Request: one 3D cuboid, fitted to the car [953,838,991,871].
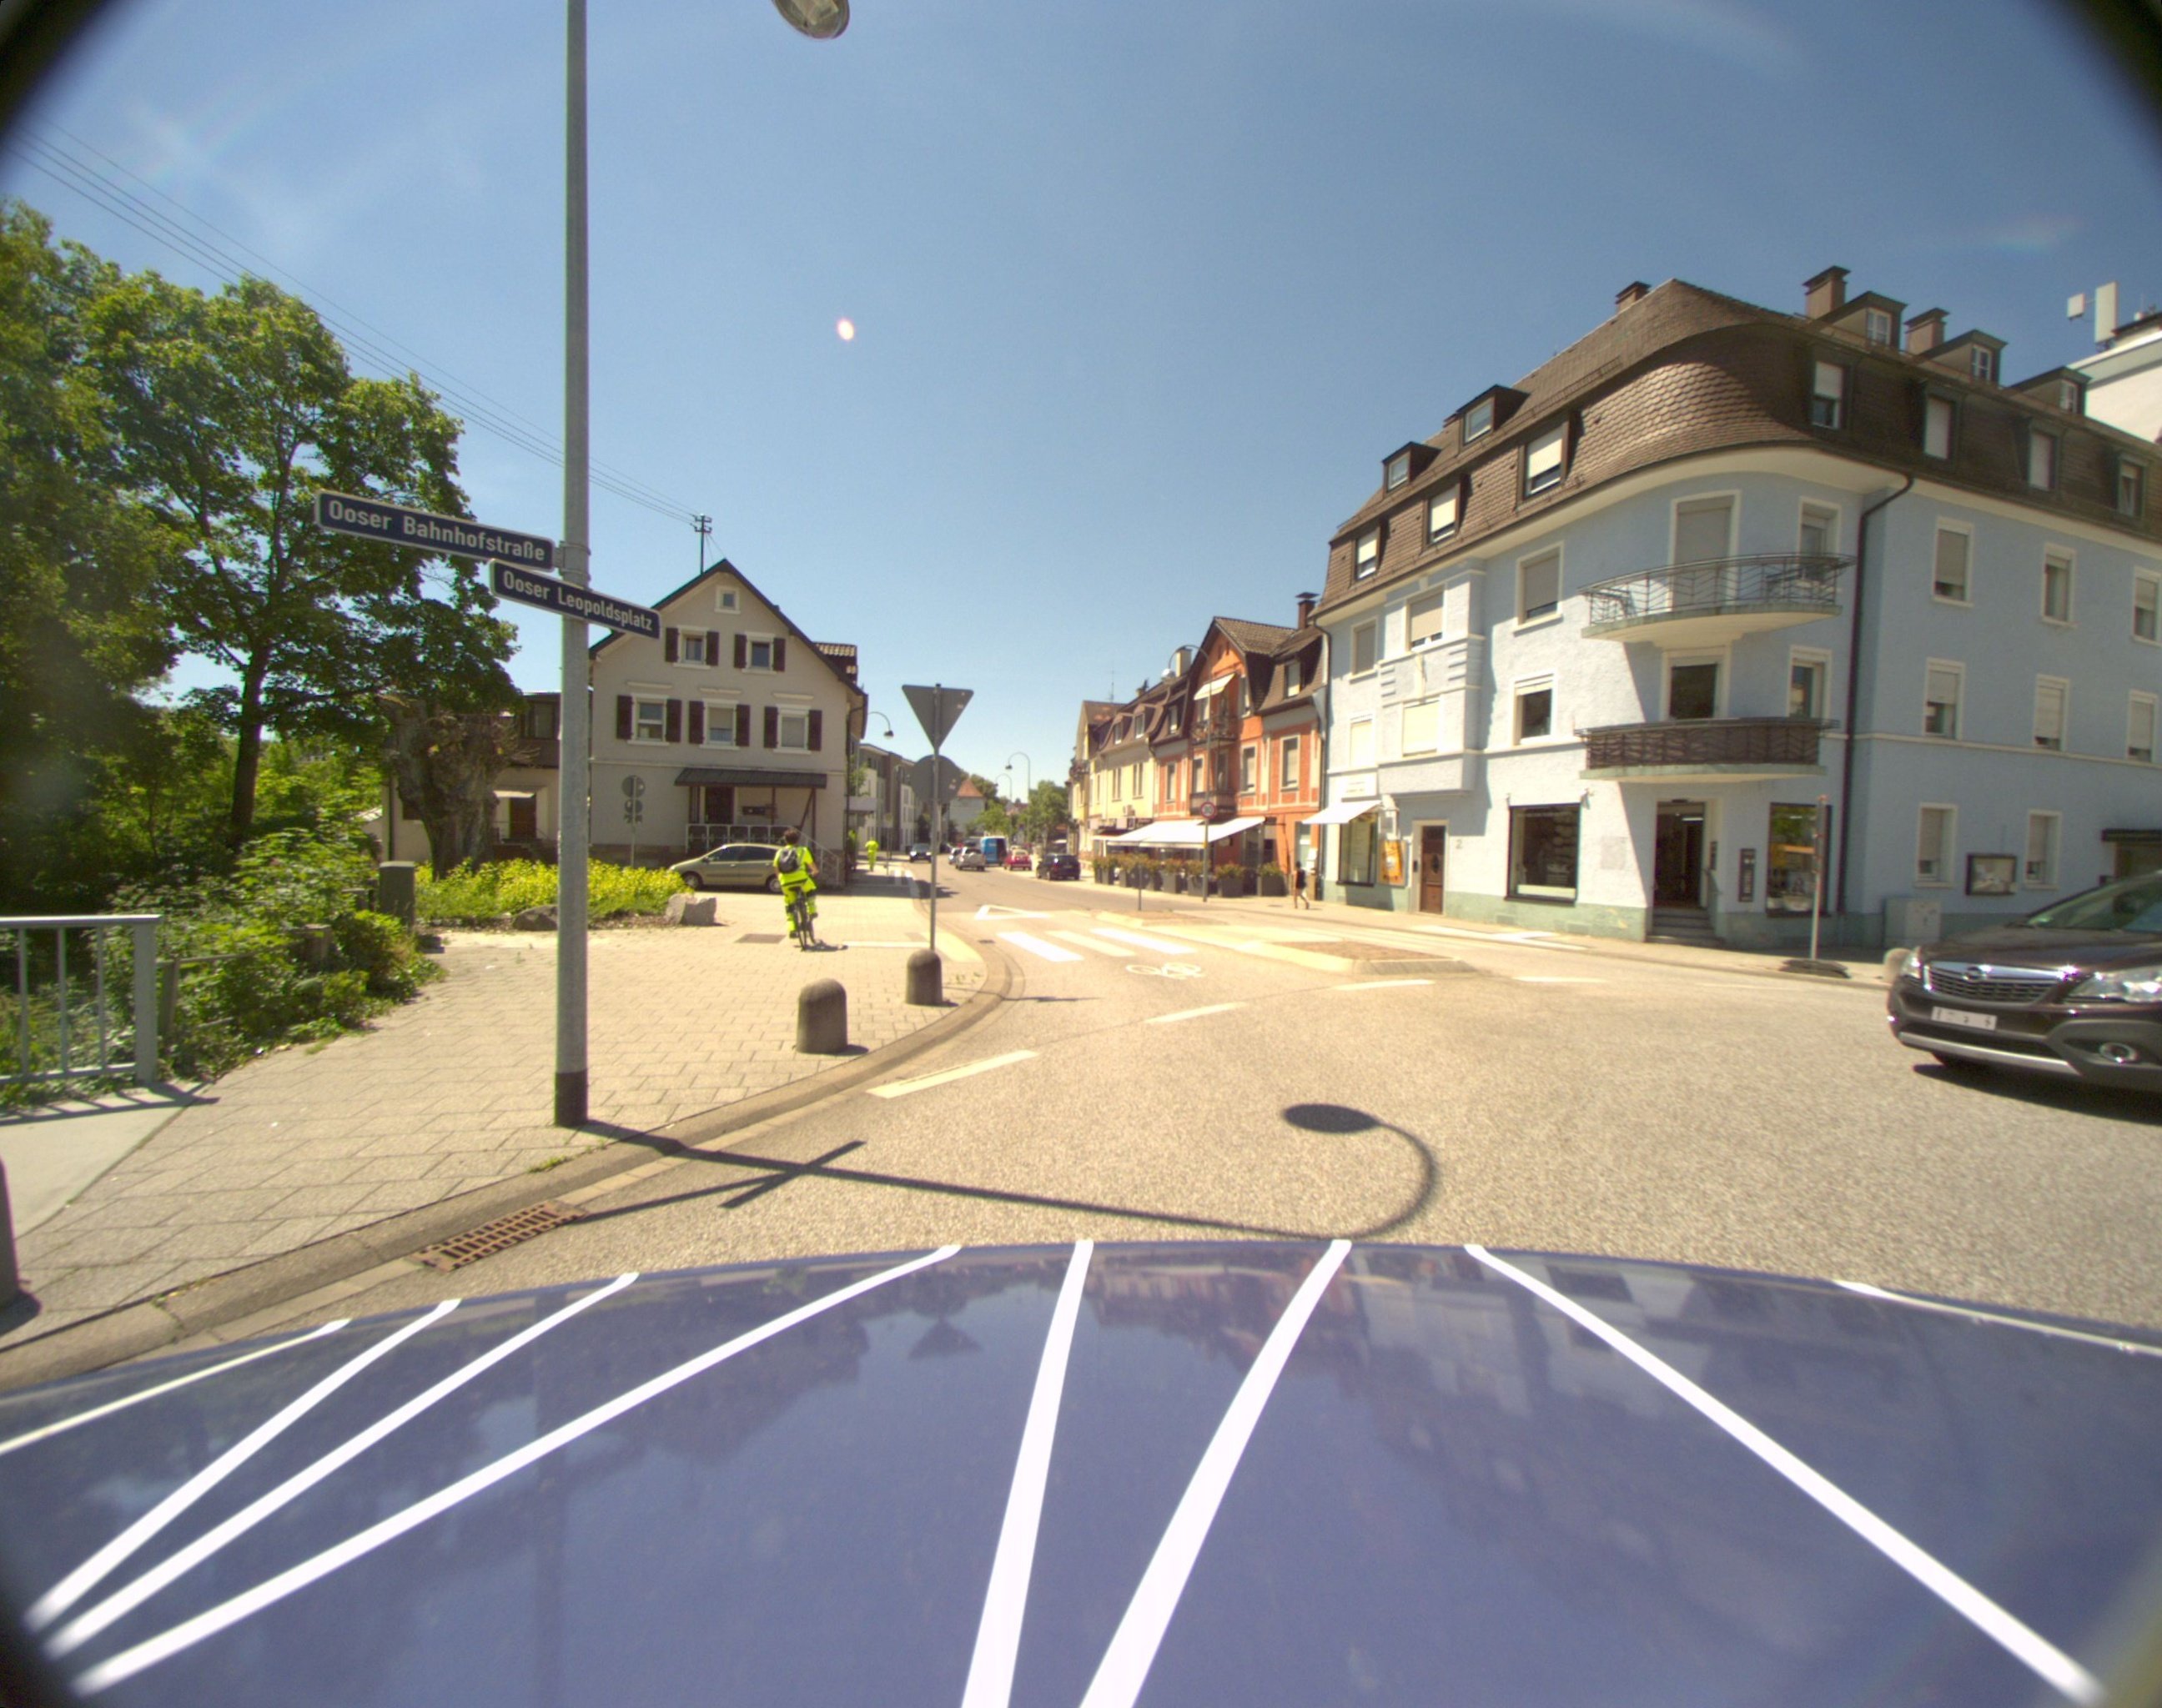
[{"bbox_3d":[-7.752,0.015,53.686,1.932,2.095,4.442,3,1,-16],"label":"car"}]

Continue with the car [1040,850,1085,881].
[{"bbox_3d":[-1.072,0.581,42.213,1.684,1.537,3.940,-1,2,-13],"label":"car"}]

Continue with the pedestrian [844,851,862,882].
[{"bbox_3d":[-9.861,0.536,32.801,0.686,1.278,0.580,1,1,-20],"label":"pedestrian"}]

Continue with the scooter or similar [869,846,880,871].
[{"bbox_3d":[-11.804,0.257,43.404,0.528,1.365,1.345,1,2,-17],"label":"scooter or similar"}]

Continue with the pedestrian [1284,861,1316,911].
[{"bbox_3d":[6.931,1.009,24.079,0.629,1.516,0.802,-1,2,-19],"label":"pedestrian"}]

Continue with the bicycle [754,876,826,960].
[{"bbox_3d":[-4.568,0.970,12.055,0.811,1.149,1.849,3,0,-15],"label":"bicycle"}]

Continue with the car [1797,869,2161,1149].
[{"bbox_3d":[8.017,0.988,5.216,4.162,1.553,2.001,3,0,3],"label":"car"}]

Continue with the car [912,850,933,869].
[{"bbox_3d":[-14.095,0.455,67.835,1.755,1.537,3.589,-1,2,-11],"label":"car"}]

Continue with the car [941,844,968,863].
[{"bbox_3d":[-10.879,-0.069,65.147,1.685,1.449,3.586,3,1,-20],"label":"car"}]

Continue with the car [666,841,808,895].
[{"bbox_3d":[-11.277,0.465,25.219,4.003,1.587,1.792,2,0,-15],"label":"car"}]

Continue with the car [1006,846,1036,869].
[{"bbox_3d":[-4.407,0.245,55.294,1.684,1.537,3.588,-1,2,-13],"label":"car"}]

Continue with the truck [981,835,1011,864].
[{"bbox_3d":[-7.083,-0.406,62.880,1.963,2.356,4.330,-1,2,-13],"label":"truck"}]

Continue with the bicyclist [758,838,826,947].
[{"bbox_3d":[-4.515,0.584,11.957,0.811,1.625,1.061,3,0,-15],"label":"bicyclist"}]

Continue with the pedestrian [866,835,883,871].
[{"bbox_3d":[-11.808,-0.087,43.426,0.922,2.018,0.899,1,2,-17],"label":"pedestrian"}]
